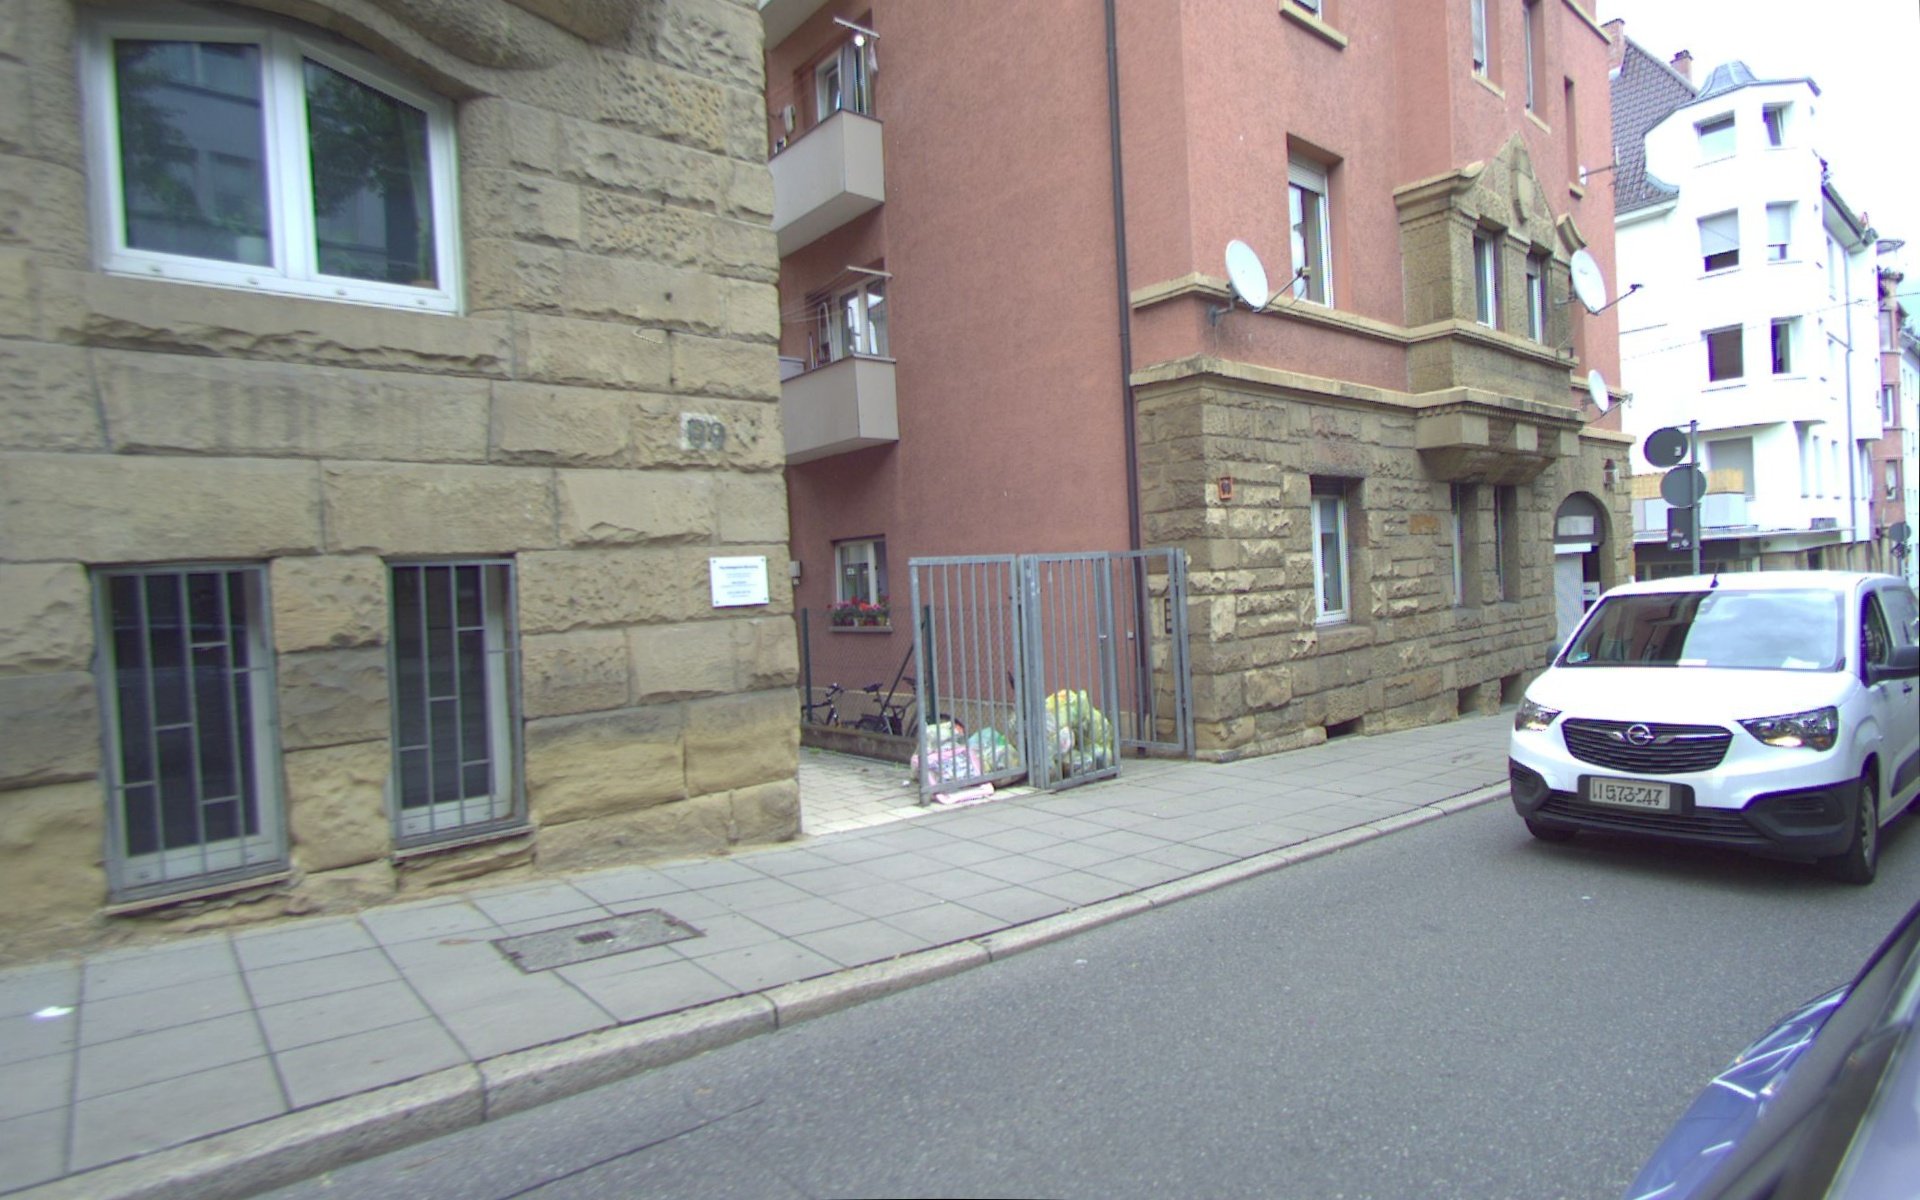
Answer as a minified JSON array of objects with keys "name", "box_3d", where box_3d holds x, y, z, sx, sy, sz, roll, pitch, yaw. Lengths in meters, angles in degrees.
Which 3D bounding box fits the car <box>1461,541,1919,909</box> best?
[{"name":"car","box_3d":[5.823,0.568,7.330,4.929,1.848,1.854,-3,0,-37]}]

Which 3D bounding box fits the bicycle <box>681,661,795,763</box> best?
[{"name":"bicycle","box_3d":[-2.972,1.495,13.389,0.542,1.226,1.924,-1,-6,-41]}]

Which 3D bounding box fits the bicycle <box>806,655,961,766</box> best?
[{"name":"bicycle","box_3d":[-0.859,1.198,10.792,0.542,1.056,1.924,-1,-6,-41]}]
